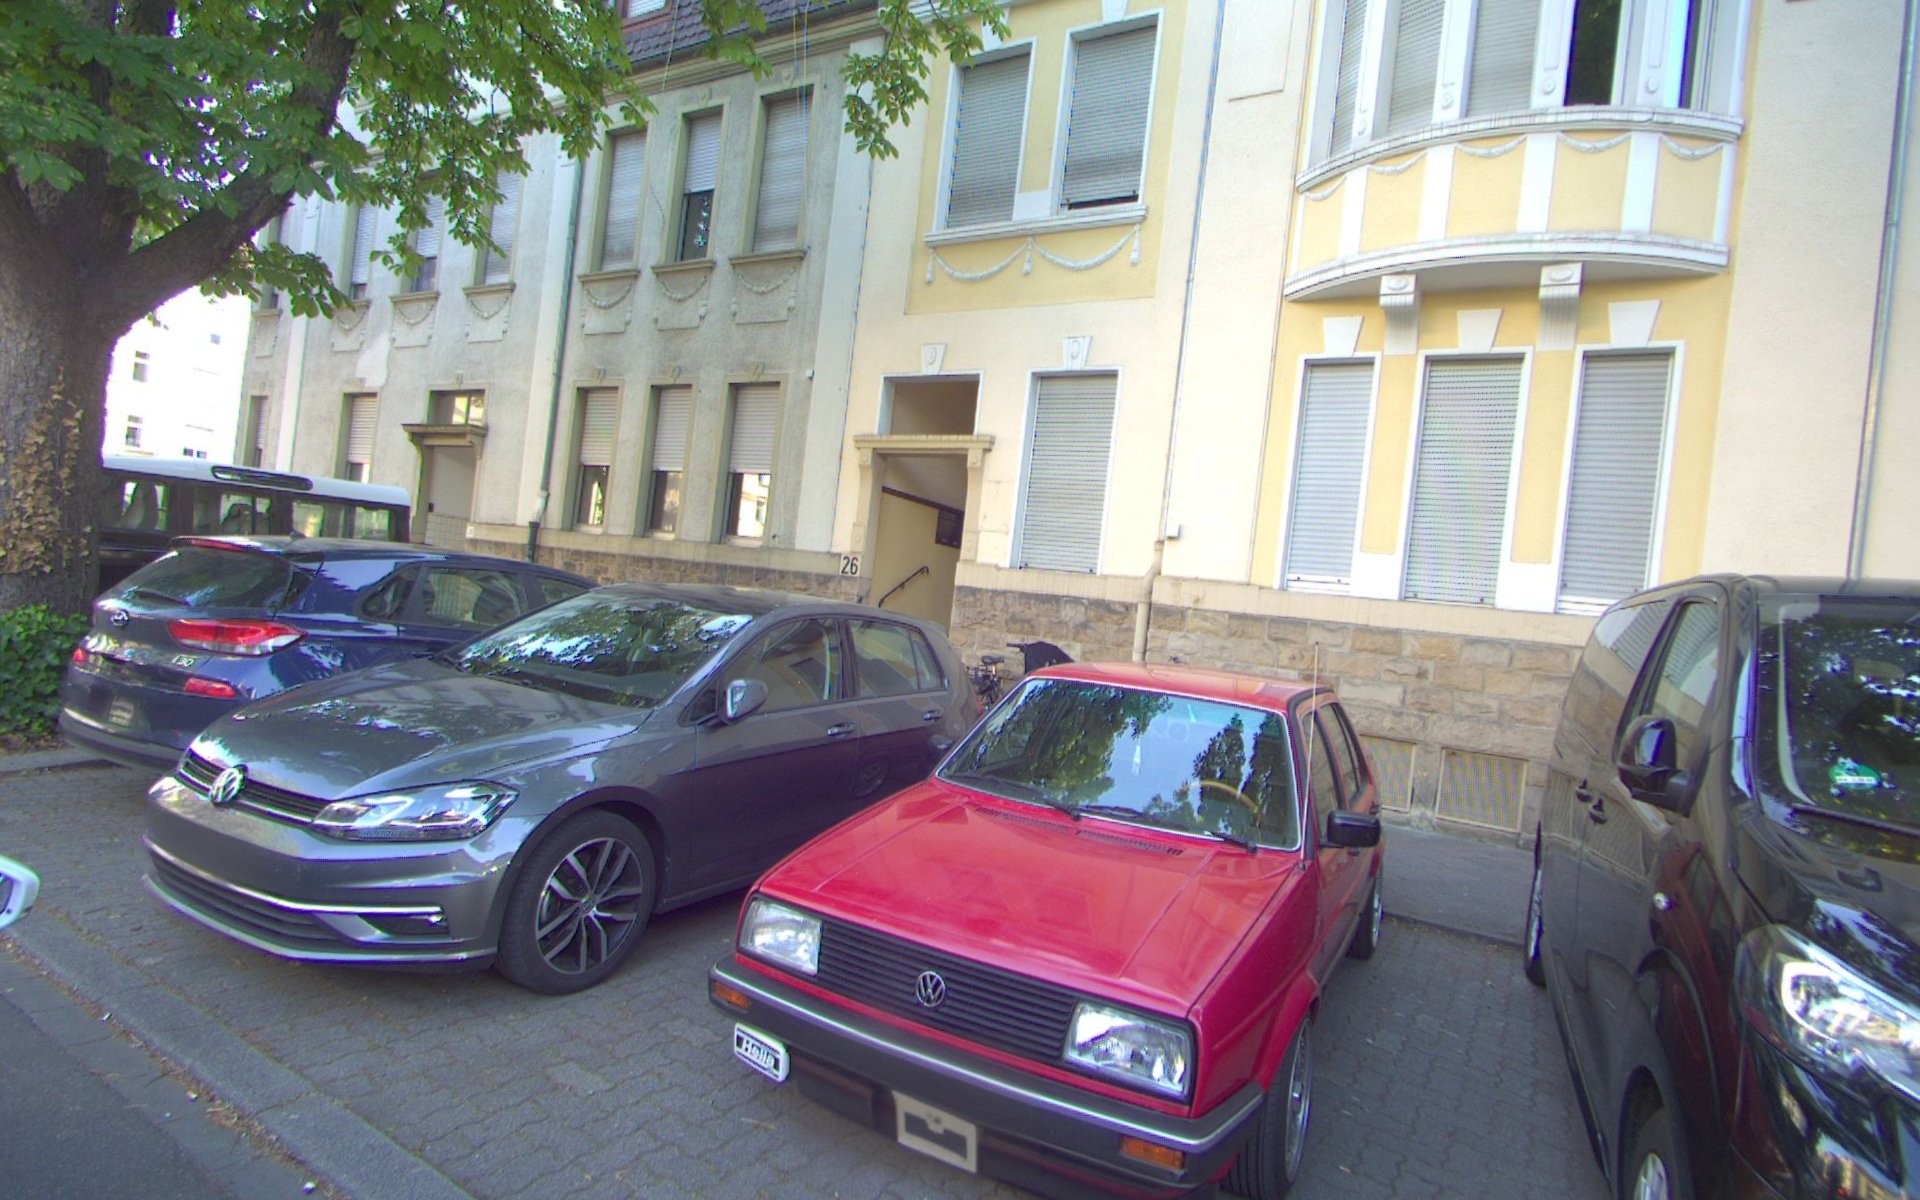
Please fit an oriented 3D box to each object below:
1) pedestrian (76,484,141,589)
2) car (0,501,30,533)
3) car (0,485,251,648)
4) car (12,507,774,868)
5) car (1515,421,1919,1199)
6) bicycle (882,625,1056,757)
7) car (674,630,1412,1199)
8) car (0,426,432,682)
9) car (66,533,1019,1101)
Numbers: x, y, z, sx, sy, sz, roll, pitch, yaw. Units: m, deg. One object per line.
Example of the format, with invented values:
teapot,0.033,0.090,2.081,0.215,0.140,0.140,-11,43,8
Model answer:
pedestrian,-16.205,-1.201,19.149,0.565,1.867,0.633,7,0,28
car,-36.695,-3.282,36.970,1.357,1.081,3.370,7,-1,30
car,-10.038,-0.396,10.807,1.680,1.606,3.488,7,0,25
car,-3.029,0.419,6.210,1.600,1.440,3.754,6,0,29
car,2.883,0.894,2.950,1.848,1.847,4.829,6,0,27
bicycle,0.069,0.901,10.331,1.675,1.090,0.500,7,2,31
car,0.835,0.907,4.218,1.532,1.337,3.916,6,0,29
car,-7.616,-0.381,9.316,1.762,1.981,4.496,7,1,29
car,-1.361,0.650,4.842,1.600,1.440,4.054,6,0,29
